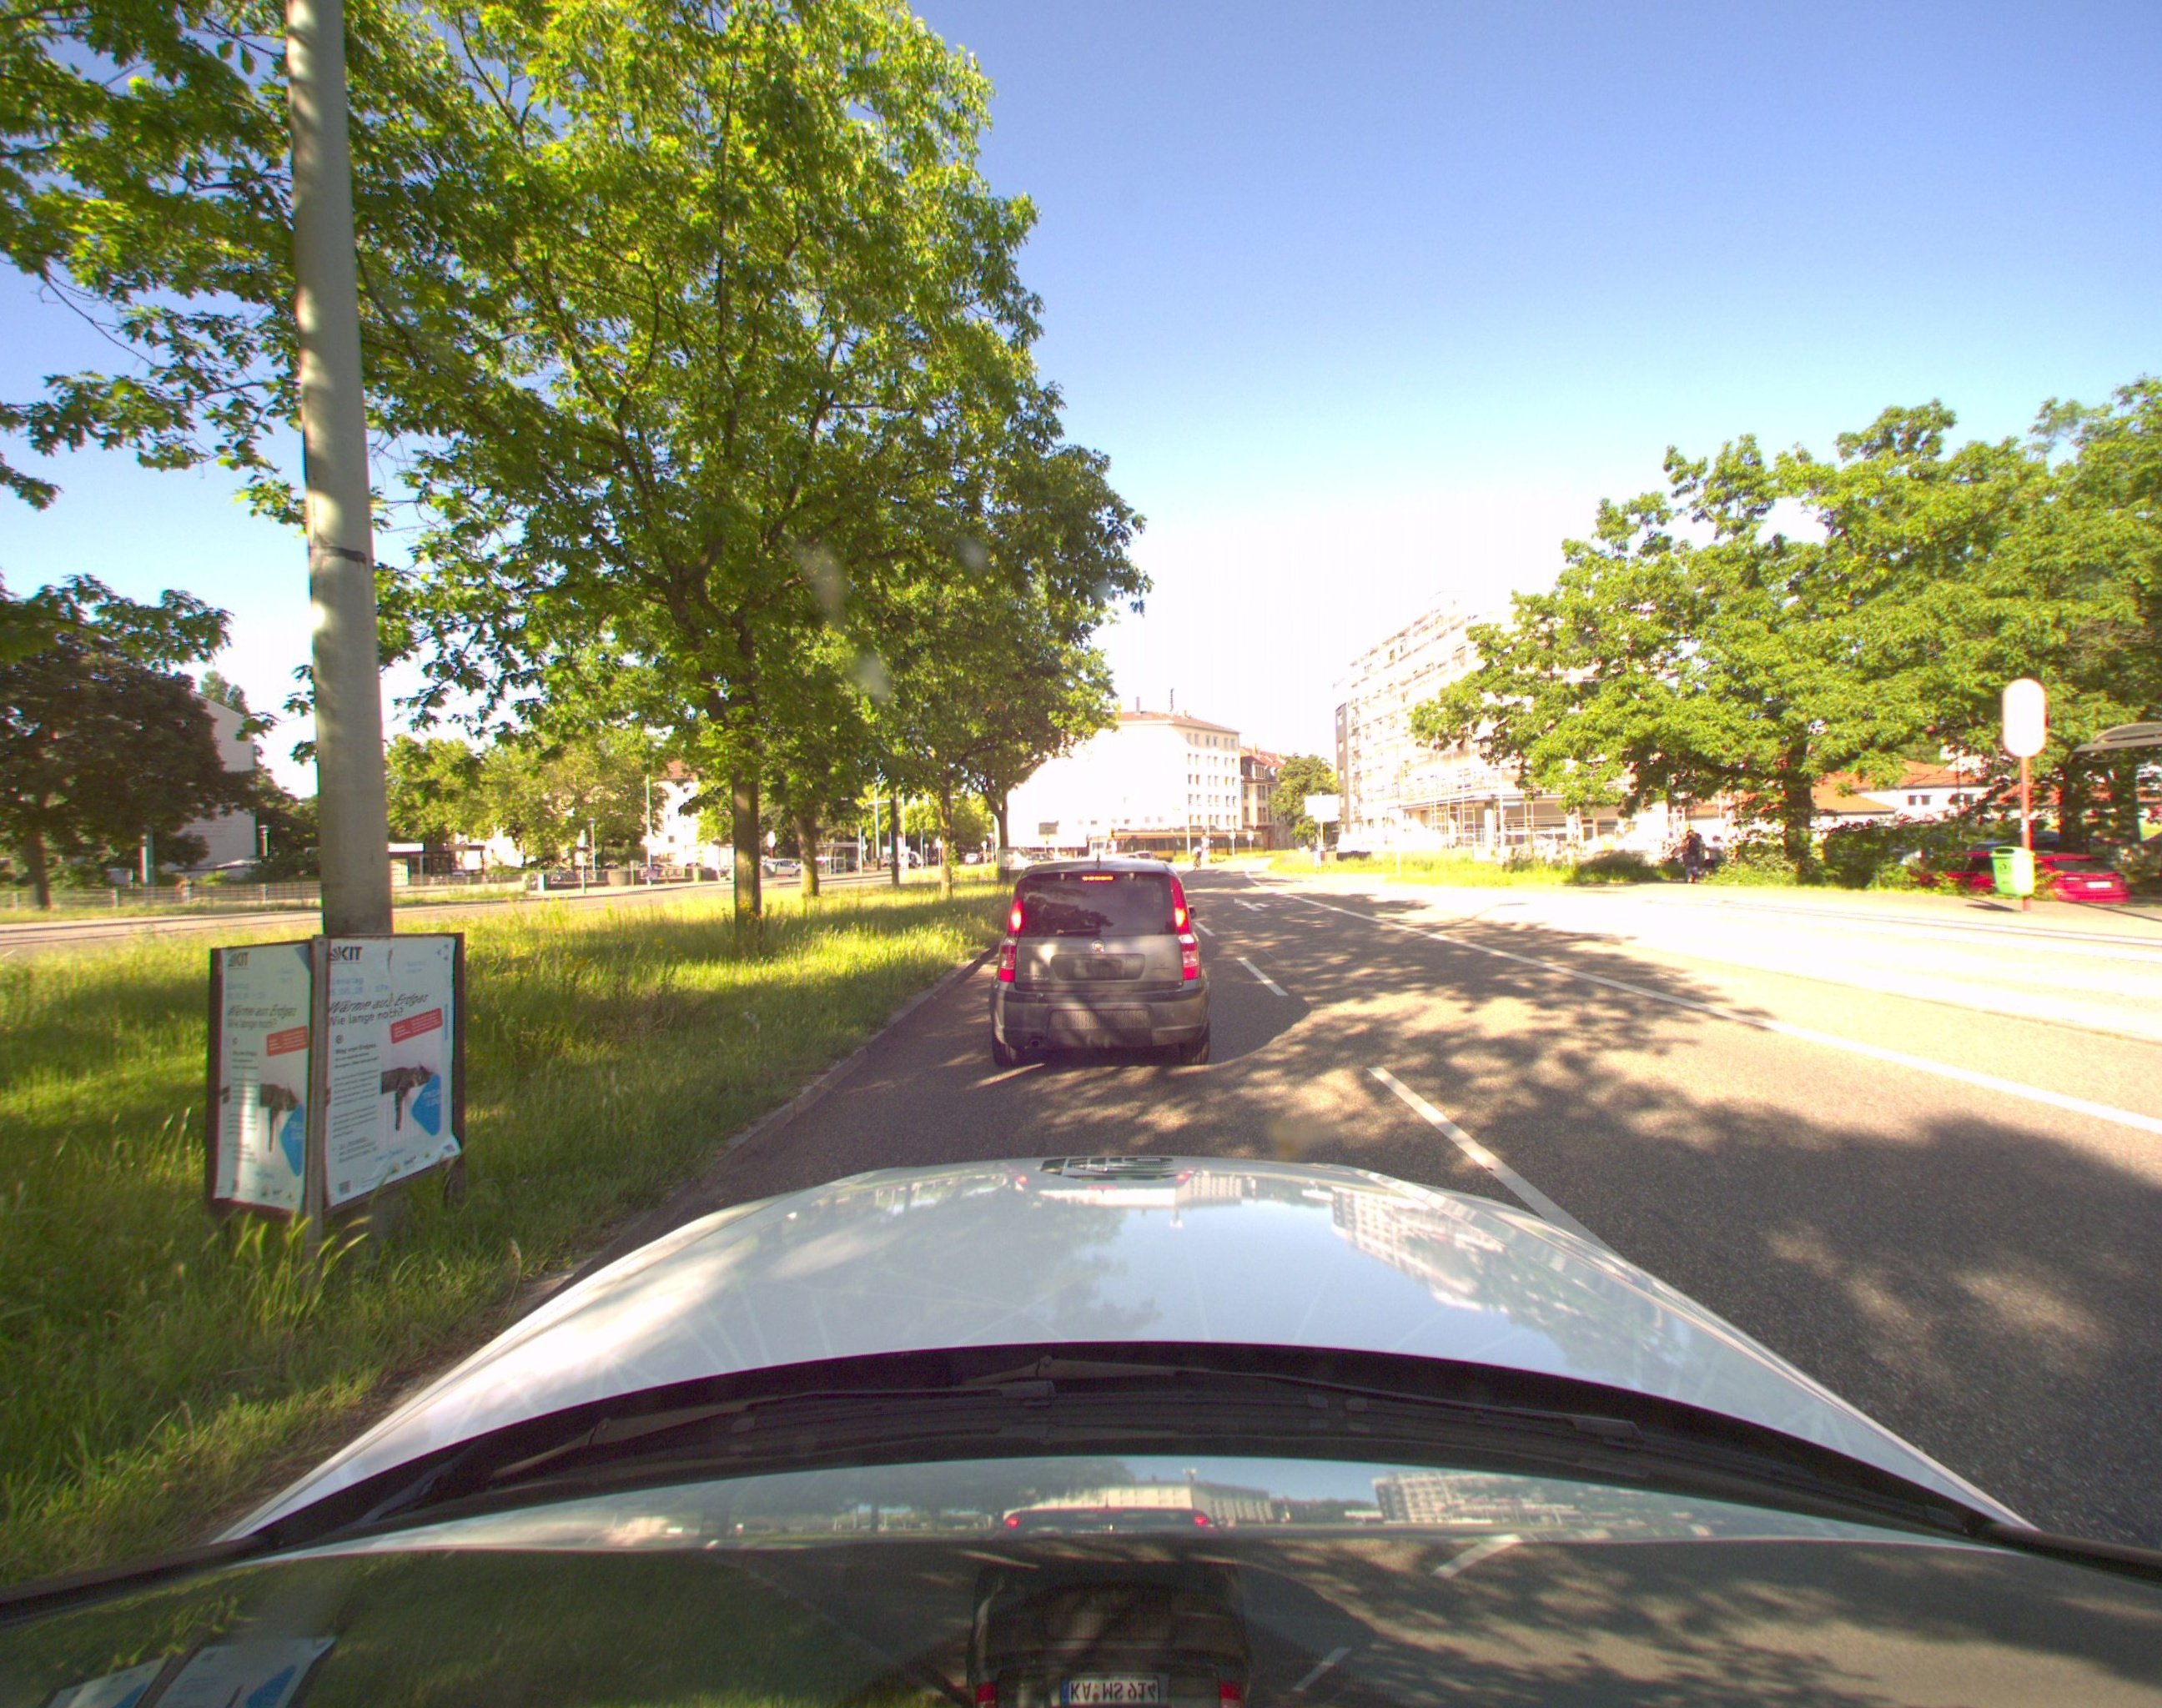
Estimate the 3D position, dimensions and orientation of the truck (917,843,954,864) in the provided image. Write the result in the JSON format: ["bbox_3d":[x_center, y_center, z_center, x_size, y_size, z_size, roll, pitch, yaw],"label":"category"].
[{"bbox_3d":[-22.995,-0.139,128.583,5.425,3.168,2.358,-2,0,30],"label":"truck"}]

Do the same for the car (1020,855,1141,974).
[{"bbox_3d":[0.046,0.749,11.771,1.458,1.401,3.395,-2,0,2],"label":"car"}]

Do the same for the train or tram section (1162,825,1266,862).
[{"bbox_3d":[16.006,-1.341,95.026,3.263,3.770,20.944,-2,0,35],"label":"train or tram section"}]

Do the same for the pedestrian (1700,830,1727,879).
[{"bbox_3d":[19.315,0.013,24.885,0.516,1.447,0.595,-2,0,28],"label":"pedestrian"}]

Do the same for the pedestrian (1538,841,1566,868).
[{"bbox_3d":[25.370,0.016,43.891,0.893,1.447,0.962,-2,0,-13],"label":"pedestrian"}]

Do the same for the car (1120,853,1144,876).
[{"bbox_3d":[3.098,0.622,49.686,1.351,1.281,2.877,-2,0,2],"label":"car"}]

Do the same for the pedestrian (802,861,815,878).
[{"bbox_3d":[-26.236,1.502,78.519,0.910,1.607,0.802,-2,0,41],"label":"pedestrian"}]

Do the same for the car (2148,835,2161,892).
[{"bbox_3d":[29.859,0.215,20.183,1.911,1.486,3.725,-2,0,-17],"label":"car"}]

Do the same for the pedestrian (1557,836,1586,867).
[{"bbox_3d":[26.459,-0.134,43.962,0.891,1.653,0.981,-2,0,-18],"label":"pedestrian"}]

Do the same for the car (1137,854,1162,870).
[{"bbox_3d":[4.868,0.577,57.724,1.133,1.064,2.735,-2,0,19],"label":"car"}]

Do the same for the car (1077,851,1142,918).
[{"bbox_3d":[0.724,0.699,20.803,1.458,1.508,3.506,-2,0,2],"label":"car"}]

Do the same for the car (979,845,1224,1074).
[{"bbox_3d":[0.201,0.704,7.544,1.622,1.508,4.002,-2,0,2],"label":"car"}]

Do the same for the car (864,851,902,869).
[{"bbox_3d":[-23.990,0.722,98.761,4.164,2.013,1.931,-2,0,-1],"label":"car"}]

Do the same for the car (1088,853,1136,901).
[{"bbox_3d":[1.027,0.729,27.374,1.458,1.424,3.383,-2,0,2],"label":"car"}]

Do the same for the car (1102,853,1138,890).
[{"bbox_3d":[1.601,0.694,33.976,1.351,1.449,3.267,-2,0,2],"label":"car"}]

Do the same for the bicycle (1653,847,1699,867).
[{"bbox_3d":[29.688,0.160,40.652,1.776,0.945,0.562,-2,0,16],"label":"bicycle"}]

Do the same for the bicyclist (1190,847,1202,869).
[{"bbox_3d":[7.632,0.286,53.883,0.738,1.438,0.846,0,-1,6],"label":"bicyclist"}]

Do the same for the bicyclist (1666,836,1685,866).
[{"bbox_3d":[29.659,-0.162,40.650,0.579,1.493,0.553,-2,0,17],"label":"bicyclist"}]

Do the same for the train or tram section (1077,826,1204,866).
[{"bbox_3d":[6.465,-0.922,80.707,3.263,3.513,19.509,-2,0,33],"label":"train or tram section"}]

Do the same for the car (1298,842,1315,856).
[{"bbox_3d":[24.923,-0.535,90.002,1.669,1.449,3.588,-2,0,18],"label":"car"}]

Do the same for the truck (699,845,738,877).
[{"bbox_3d":[-33.070,0.634,74.217,2.012,2.805,3.951,-2,0,-44],"label":"truck"}]

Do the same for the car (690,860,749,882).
[{"bbox_3d":[-30.194,1.411,68.023,1.974,1.684,4.025,-2,0,40],"label":"car"}]

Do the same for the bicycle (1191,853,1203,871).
[{"bbox_3d":[7.660,0.520,53.857,0.704,1.198,2.525,0,-1,6],"label":"bicycle"}]

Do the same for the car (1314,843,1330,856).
[{"bbox_3d":[27.749,-0.532,93.564,1.514,1.314,3.304,-2,0,20],"label":"car"}]

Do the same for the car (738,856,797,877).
[{"bbox_3d":[-27.313,1.071,71.080,1.974,1.684,4.348,-2,0,40],"label":"car"}]

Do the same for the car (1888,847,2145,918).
[{"bbox_3d":[21.984,0.600,19.380,1.747,1.486,3.743,-2,0,-2],"label":"car"}]

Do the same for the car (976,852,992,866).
[{"bbox_3d":[-14.828,0.734,124.171,1.988,2.013,3.997,-2,0,-2],"label":"car"}]

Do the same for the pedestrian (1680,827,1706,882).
[{"bbox_3d":[18.553,0.014,24.686,0.516,1.612,0.595,-2,0,28],"label":"pedestrian"}]

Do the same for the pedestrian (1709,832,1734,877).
[{"bbox_3d":[20.910,0.015,26.579,0.516,1.447,0.595,-2,0,28],"label":"pedestrian"}]
